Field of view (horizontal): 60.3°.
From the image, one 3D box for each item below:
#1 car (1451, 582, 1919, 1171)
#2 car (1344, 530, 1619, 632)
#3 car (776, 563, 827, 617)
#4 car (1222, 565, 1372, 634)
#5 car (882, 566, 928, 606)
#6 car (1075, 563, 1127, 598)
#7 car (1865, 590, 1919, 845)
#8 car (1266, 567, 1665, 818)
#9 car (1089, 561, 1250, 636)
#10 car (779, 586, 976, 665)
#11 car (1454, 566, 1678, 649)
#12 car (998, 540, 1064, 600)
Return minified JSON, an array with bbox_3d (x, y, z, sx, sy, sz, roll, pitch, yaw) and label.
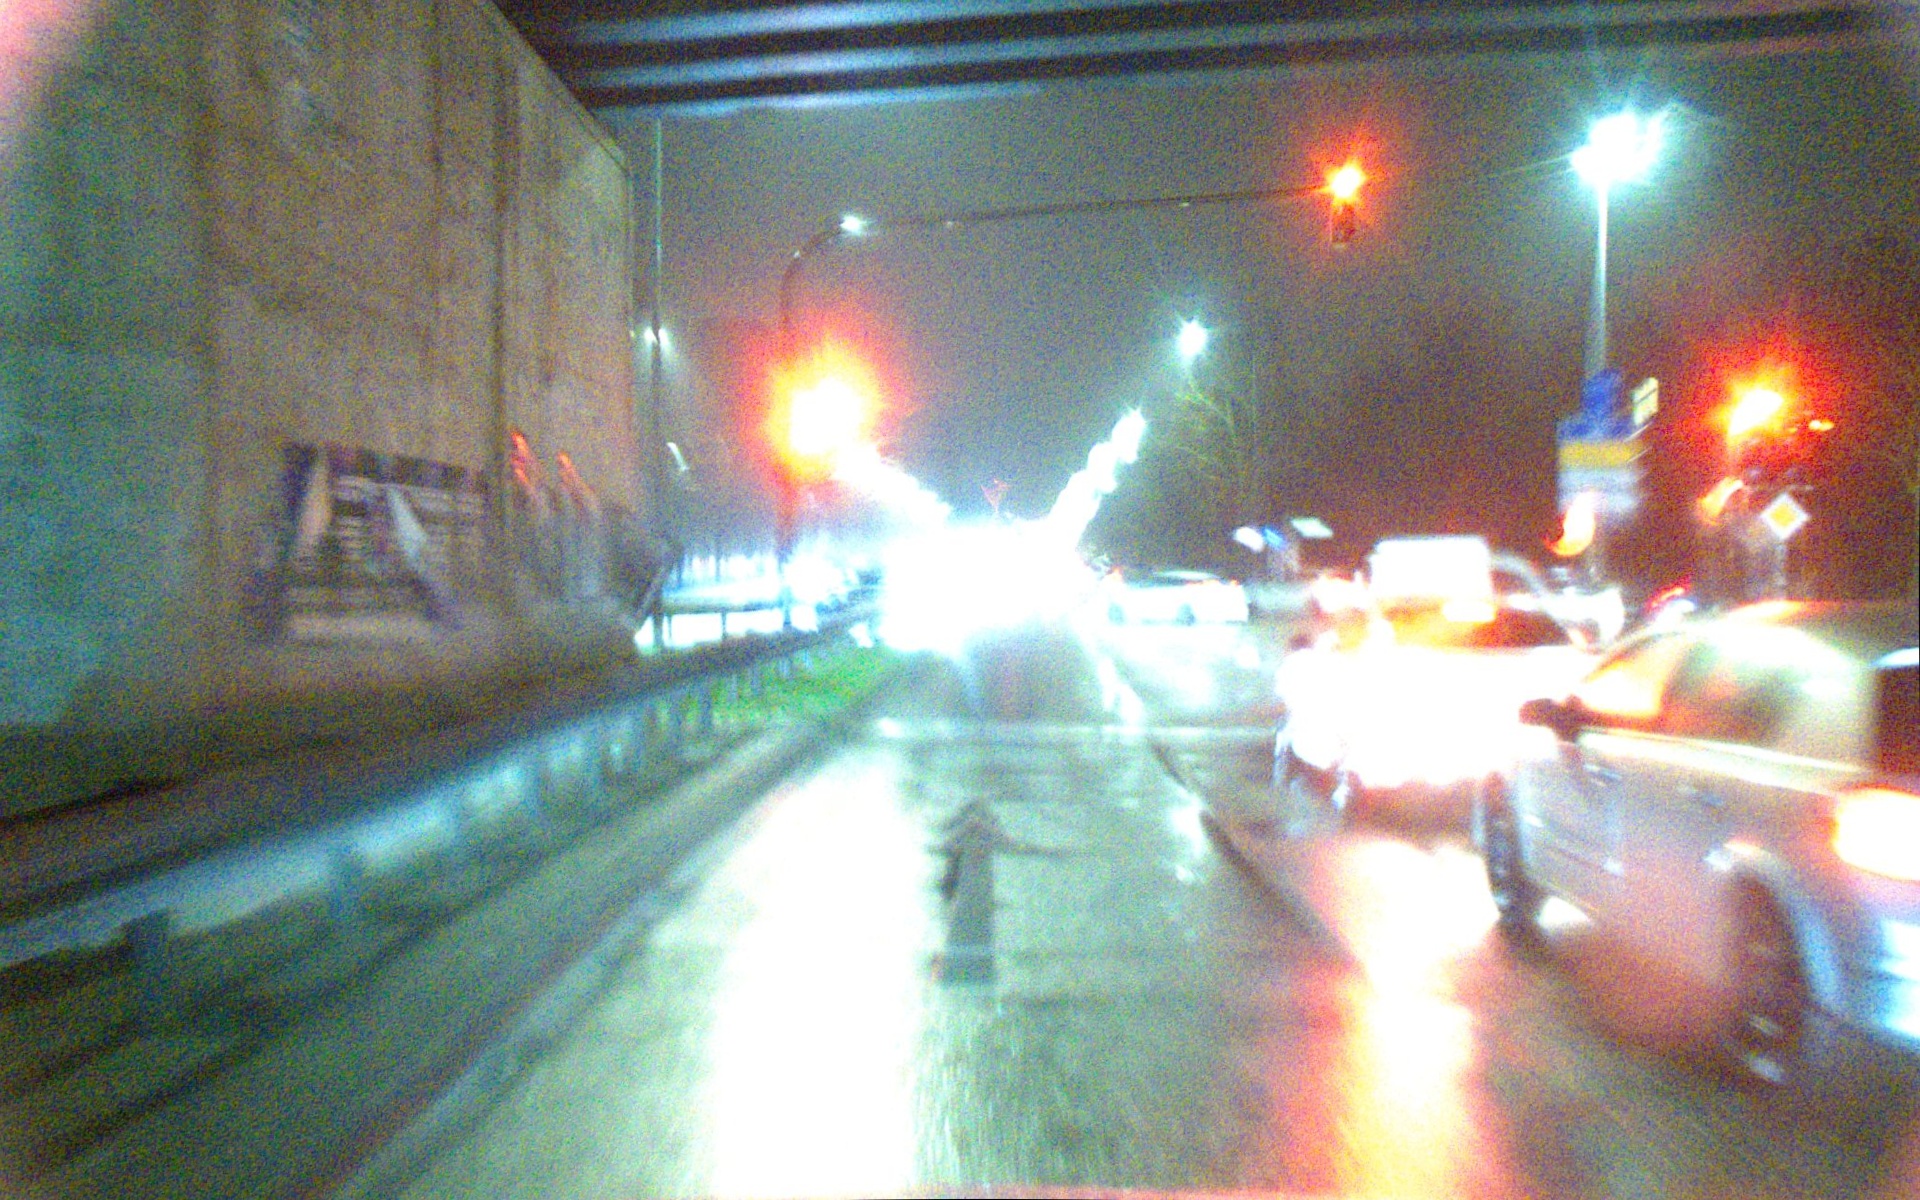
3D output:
[{"bbox_3d":[3.238,0.679,6.193,1.684,1.472,4.163,0,0,2],"label":"car"},{"bbox_3d":[9.652,-0.357,30.702,4.723,1.800,1.837,1,0,21],"label":"car"},{"bbox_3d":[-5.471,-0.335,56.970,1.684,1.764,3.760,0,0,-6],"label":"car"},{"bbox_3d":[10.358,-0.030,51.006,2.025,2.049,4.245,0,0,-39],"label":"car"},{"bbox_3d":[-2.423,-0.580,71.469,1.864,1.646,4.511,0,0,-4],"label":"car"},{"bbox_3d":[6.567,-0.884,77.358,2.048,1.572,4.307,0,0,0],"label":"car"},{"bbox_3d":[6.347,0.676,8.047,1.684,1.472,4.163,-1,0,2],"label":"car"},{"bbox_3d":[3.442,0.543,12.138,1.684,1.472,4.384,-1,0,2],"label":"car"},{"bbox_3d":[6.035,-0.055,47.793,4.228,2.049,2.034,1,0,41],"label":"car"},{"bbox_3d":[-1.901,0.538,37.383,4.342,1.678,1.829,1,0,38],"label":"car"},{"bbox_3d":[12.587,0.128,34.381,4.279,1.651,1.836,1,0,23],"label":"car"},{"bbox_3d":[2.740,-1.142,64.899,2.391,2.232,5.079,0,0,0],"label":"car"}]
